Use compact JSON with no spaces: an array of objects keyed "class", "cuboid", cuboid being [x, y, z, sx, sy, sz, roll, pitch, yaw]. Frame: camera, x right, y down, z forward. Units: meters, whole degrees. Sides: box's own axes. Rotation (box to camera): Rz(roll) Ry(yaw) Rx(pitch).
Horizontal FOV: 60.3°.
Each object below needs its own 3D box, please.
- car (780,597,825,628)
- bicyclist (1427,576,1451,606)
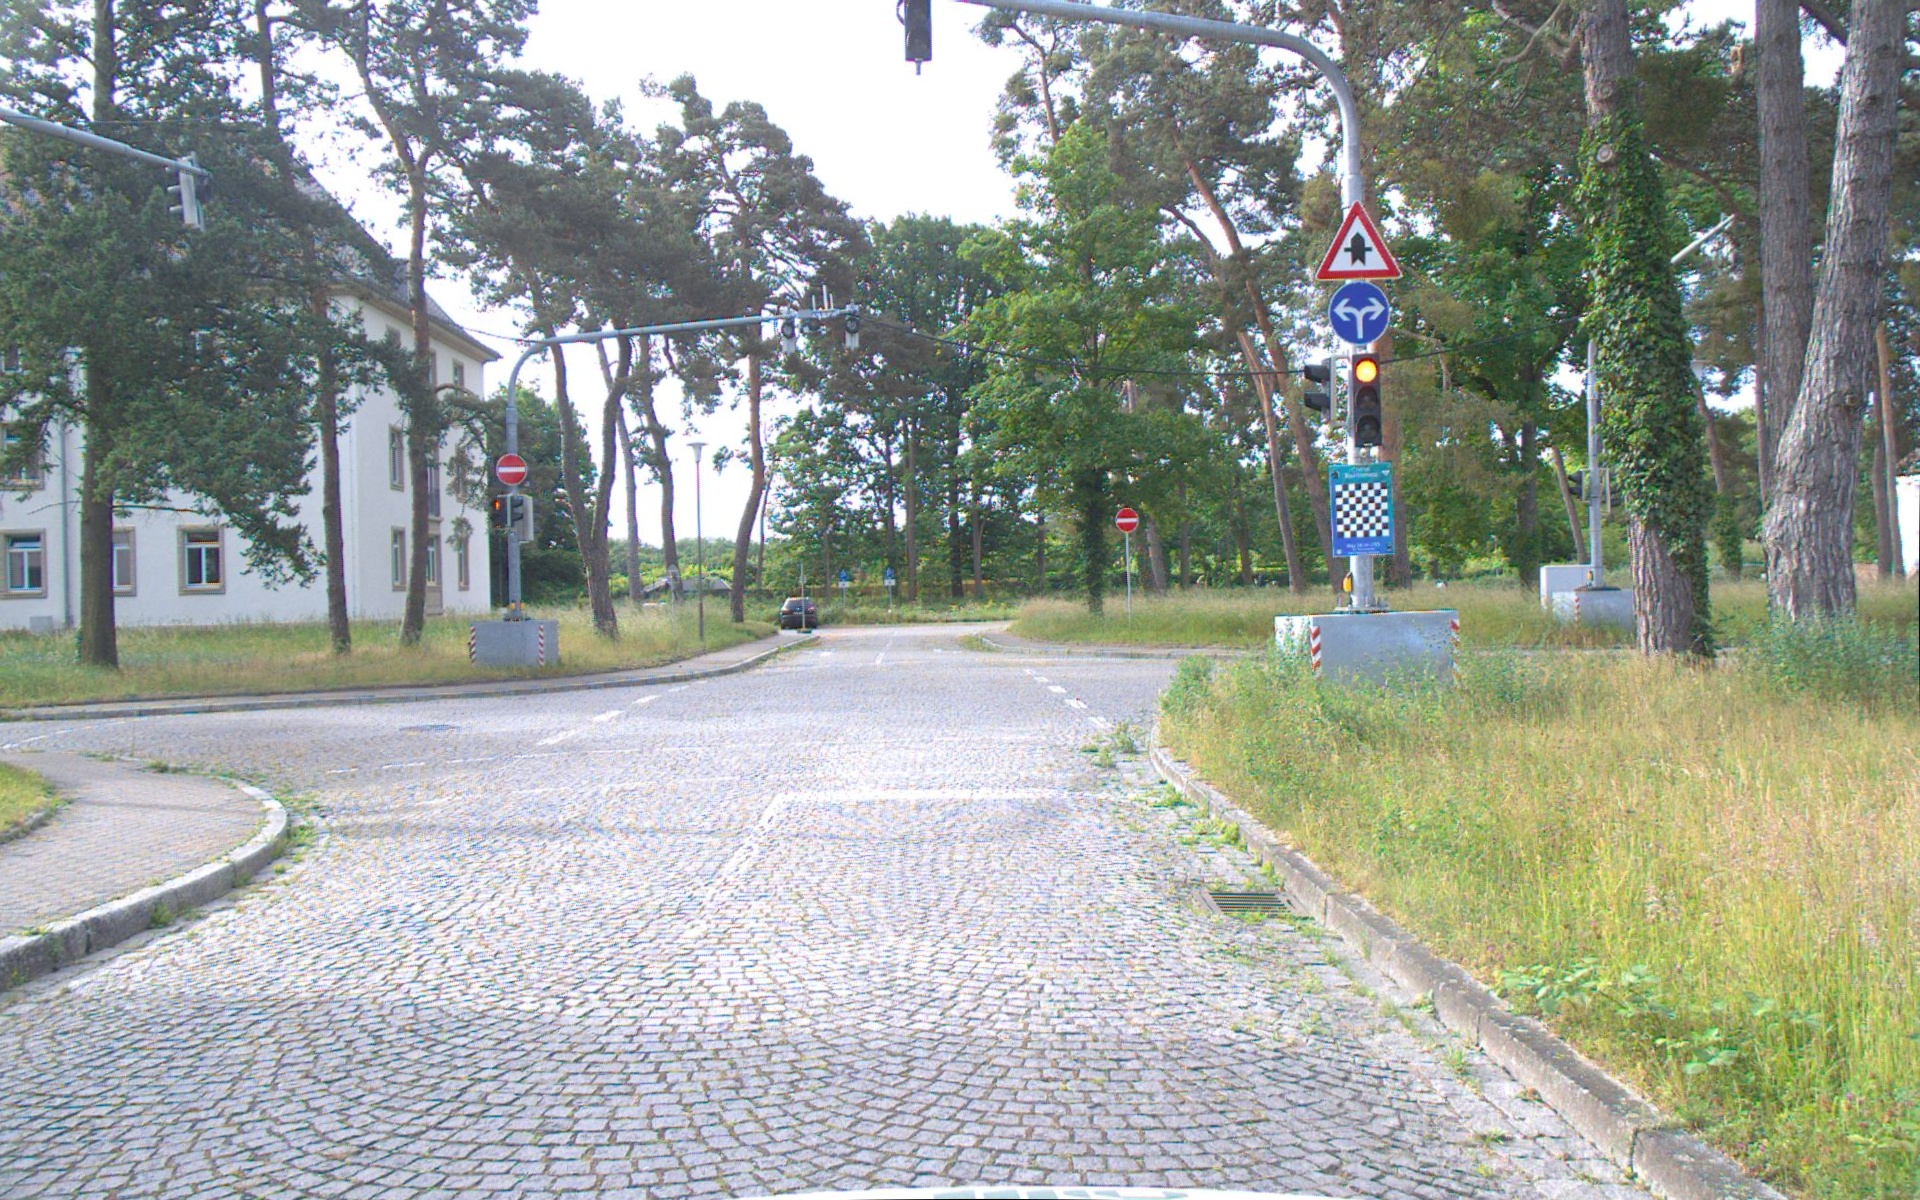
[{"class":"car","cuboid":[-7.894,0.607,83.233,1.953,1.534,4.000,0,0,-1]},{"class":"bicyclist","cuboid":[25.217,-0.455,87.046,0.956,1.537,0.806,-2,0,-6]}]
